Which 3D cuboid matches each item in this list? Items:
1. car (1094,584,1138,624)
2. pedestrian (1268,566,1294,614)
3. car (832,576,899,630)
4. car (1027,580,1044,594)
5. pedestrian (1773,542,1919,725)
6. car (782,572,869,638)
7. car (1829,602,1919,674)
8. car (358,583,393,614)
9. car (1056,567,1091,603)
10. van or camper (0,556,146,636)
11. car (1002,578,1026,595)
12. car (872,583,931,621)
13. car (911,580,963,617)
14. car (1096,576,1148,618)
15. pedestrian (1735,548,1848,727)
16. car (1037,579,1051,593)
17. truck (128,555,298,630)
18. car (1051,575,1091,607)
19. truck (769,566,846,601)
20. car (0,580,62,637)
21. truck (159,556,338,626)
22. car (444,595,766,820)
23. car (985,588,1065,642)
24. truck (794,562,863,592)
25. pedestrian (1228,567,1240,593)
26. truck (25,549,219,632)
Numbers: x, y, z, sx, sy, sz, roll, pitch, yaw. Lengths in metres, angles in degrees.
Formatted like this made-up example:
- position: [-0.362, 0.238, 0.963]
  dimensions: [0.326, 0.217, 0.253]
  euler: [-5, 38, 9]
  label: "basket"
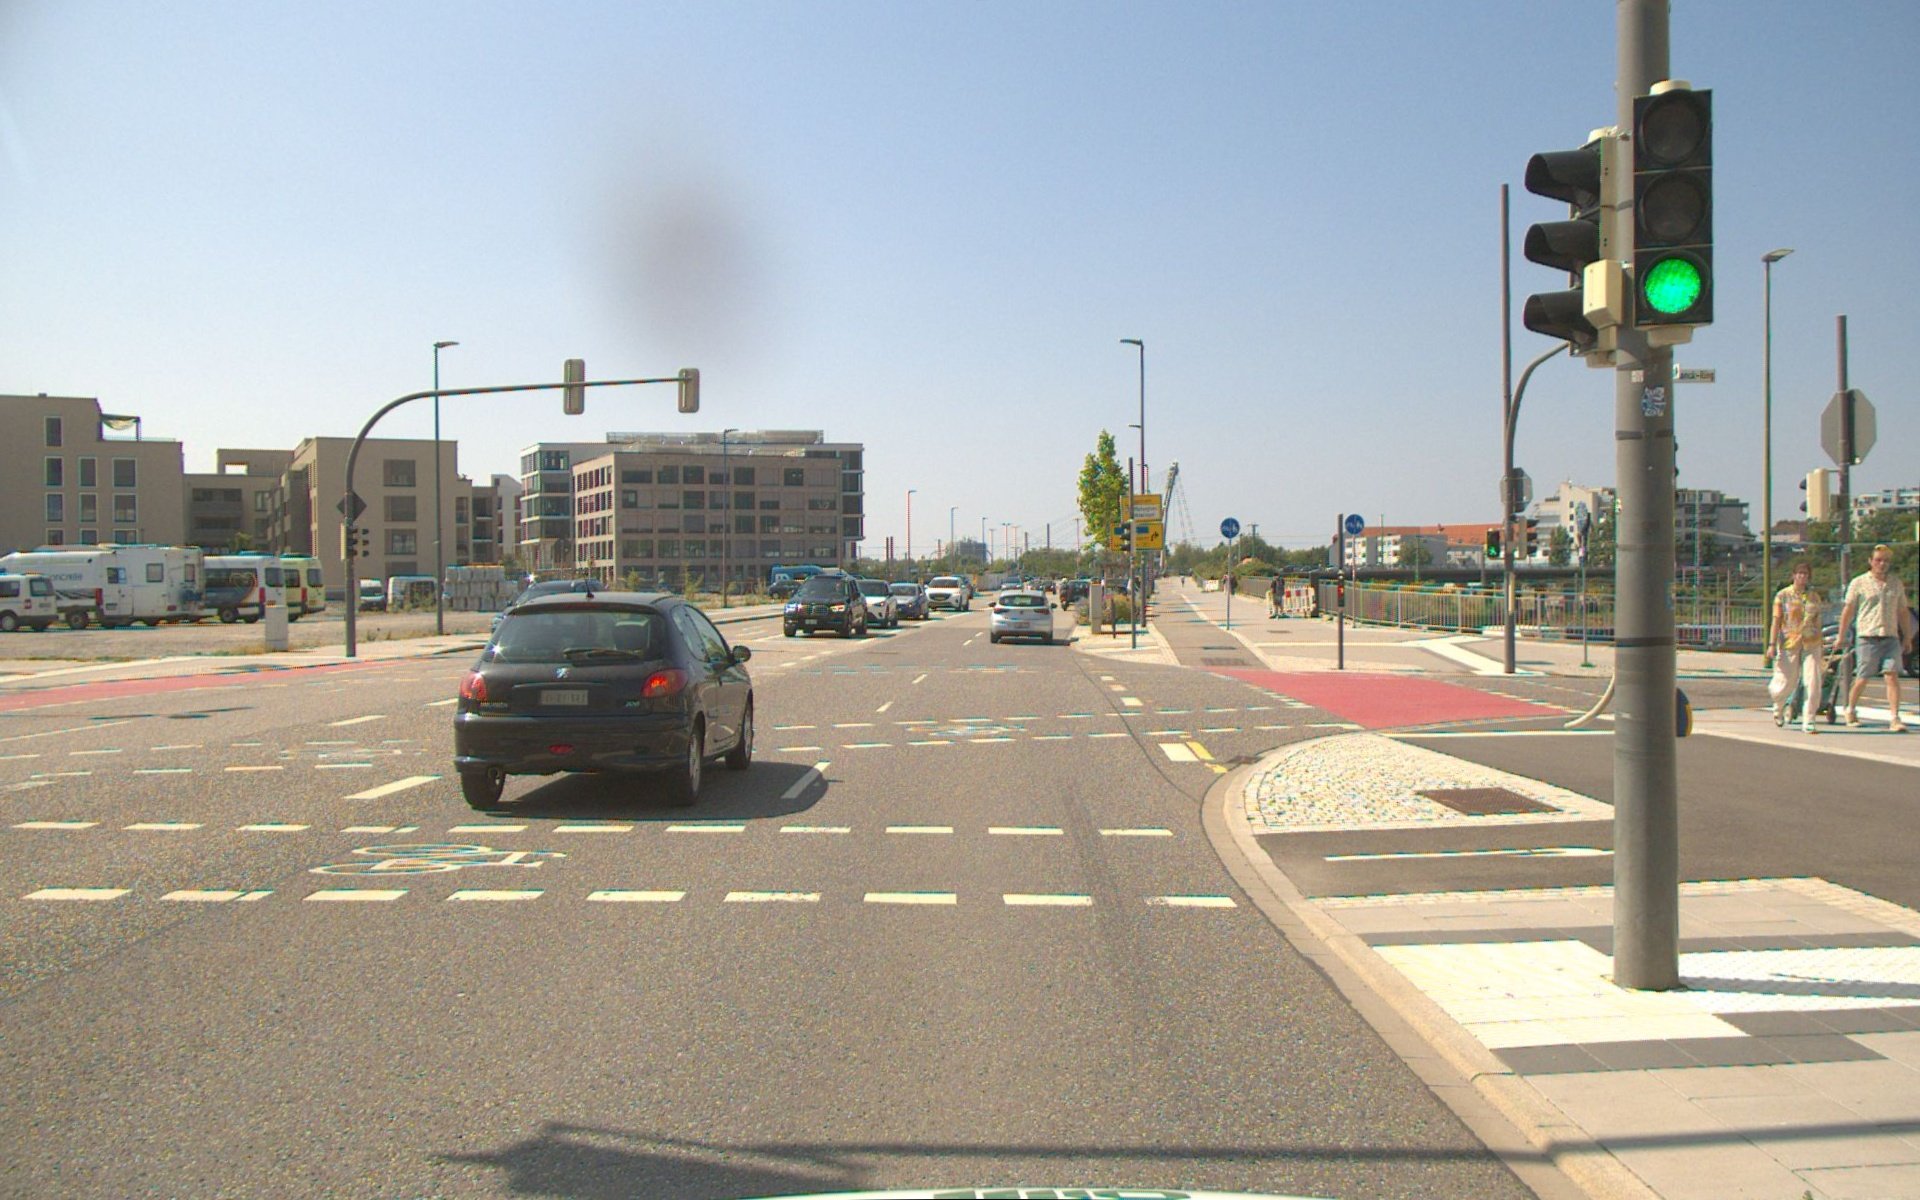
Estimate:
- position: [6.767, 0.143, 71.451]
  dimensions: [1.832, 1.655, 4.880]
  euler: [-1, 0, 6]
  label: "car"
- position: [11.304, -0.374, 58.342]
  dimensions: [0.735, 1.637, 0.950]
  euler: [-3, 1, 6]
  label: "pedestrian"
- position: [-3.283, 0.068, 58.307]
  dimensions: [1.741, 1.711, 4.102]
  euler: [-3, 1, 4]
  label: "car"
- position: [8.135, -1.420, 177.250]
  dimensions: [1.756, 1.441, 4.001]
  euler: [1, 0, 3]
  label: "car"
- position: [9.487, 0.335, 17.578]
  dimensions: [0.860, 1.858, 1.664]
  euler: [0, 0, 0]
  label: "pedestrian"
- position: [-3.985, 0.102, 49.624]
  dimensions: [1.898, 1.819, 4.658]
  euler: [1, 1, 4]
  label: "car"
- position: [20.148, 0.803, 35.996]
  dimensions: [1.433, 1.490, 3.348]
  euler: [0, 0, 42]
  label: "car"
- position: [-44.750, -0.124, 126.543]
  dimensions: [1.971, 2.279, 3.963]
  euler: [-1, 1, -28]
  label: "car"
- position: [5.874, -0.780, 85.652]
  dimensions: [1.755, 1.780, 4.002]
  euler: [-1, 0, 3]
  label: "car"
- position: [-31.372, -0.166, 57.796]
  dimensions: [4.795, 2.708, 2.262]
  euler: [0, 1, 6]
  label: "van or camper"
- position: [4.932, -1.242, 150.064]
  dimensions: [1.853, 1.440, 3.601]
  euler: [1, 0, 7]
  label: "car"
- position: [-2.347, 0.096, 67.764]
  dimensions: [1.748, 1.446, 4.285]
  euler: [-1, 0, 7]
  label: "car"
- position: [-1.054, -0.088, 78.910]
  dimensions: [1.872, 1.678, 4.734]
  euler: [-1, 0, 7]
  label: "car"
- position: [6.351, -0.157, 64.645]
  dimensions: [1.951, 1.545, 4.003]
  euler: [0, 1, 7]
  label: "car"
- position: [8.467, 0.373, 16.871]
  dimensions: [0.685, 1.754, 0.796]
  euler: [-2, 0, -1]
  label: "pedestrian"
- position: [10.025, -1.617, 197.455]
  dimensions: [1.546, 1.590, 3.675]
  euler: [1, 0, 3]
  label: "car"
- position: [-30.172, -0.284, 66.890]
  dimensions: [5.711, 2.874, 2.572]
  euler: [1, 0, 7]
  label: "truck"
- position: [5.733, -0.447, 85.415]
  dimensions: [1.740, 1.596, 4.003]
  euler: [1, 0, 8]
  label: "car"
- position: [-12.222, -1.317, 132.806]
  dimensions: [5.878, 2.587, 2.276]
  euler: [-1, 1, 3]
  label: "truck"
- position: [-31.687, 0.264, 54.078]
  dimensions: [3.785, 1.789, 1.658]
  euler: [0, 1, 3]
  label: "car"
- position: [-30.134, -0.405, 70.174]
  dimensions: [6.495, 2.875, 2.605]
  euler: [0, 1, 6]
  label: "truck"
- position: [-2.503, 0.686, 12.517]
  dimensions: [1.586, 1.441, 3.727]
  euler: [0, 0, 1]
  label: "car"
- position: [1.892, 0.395, 46.852]
  dimensions: [1.740, 1.467, 4.004]
  euler: [-1, 0, 10]
  label: "car"
- position: [-11.077, -1.967, 139.819]
  dimensions: [5.449, 2.404, 2.277]
  euler: [-1, 1, 5]
  label: "truck"
- position: [17.846, -1.305, 107.860]
  dimensions: [0.716, 1.735, 0.651]
  euler: [1, -1, 7]
  label: "pedestrian"
- position: [-31.398, -0.361, 62.079]
  dimensions: [6.014, 2.952, 2.572]
  euler: [1, 0, 7]
  label: "truck"
